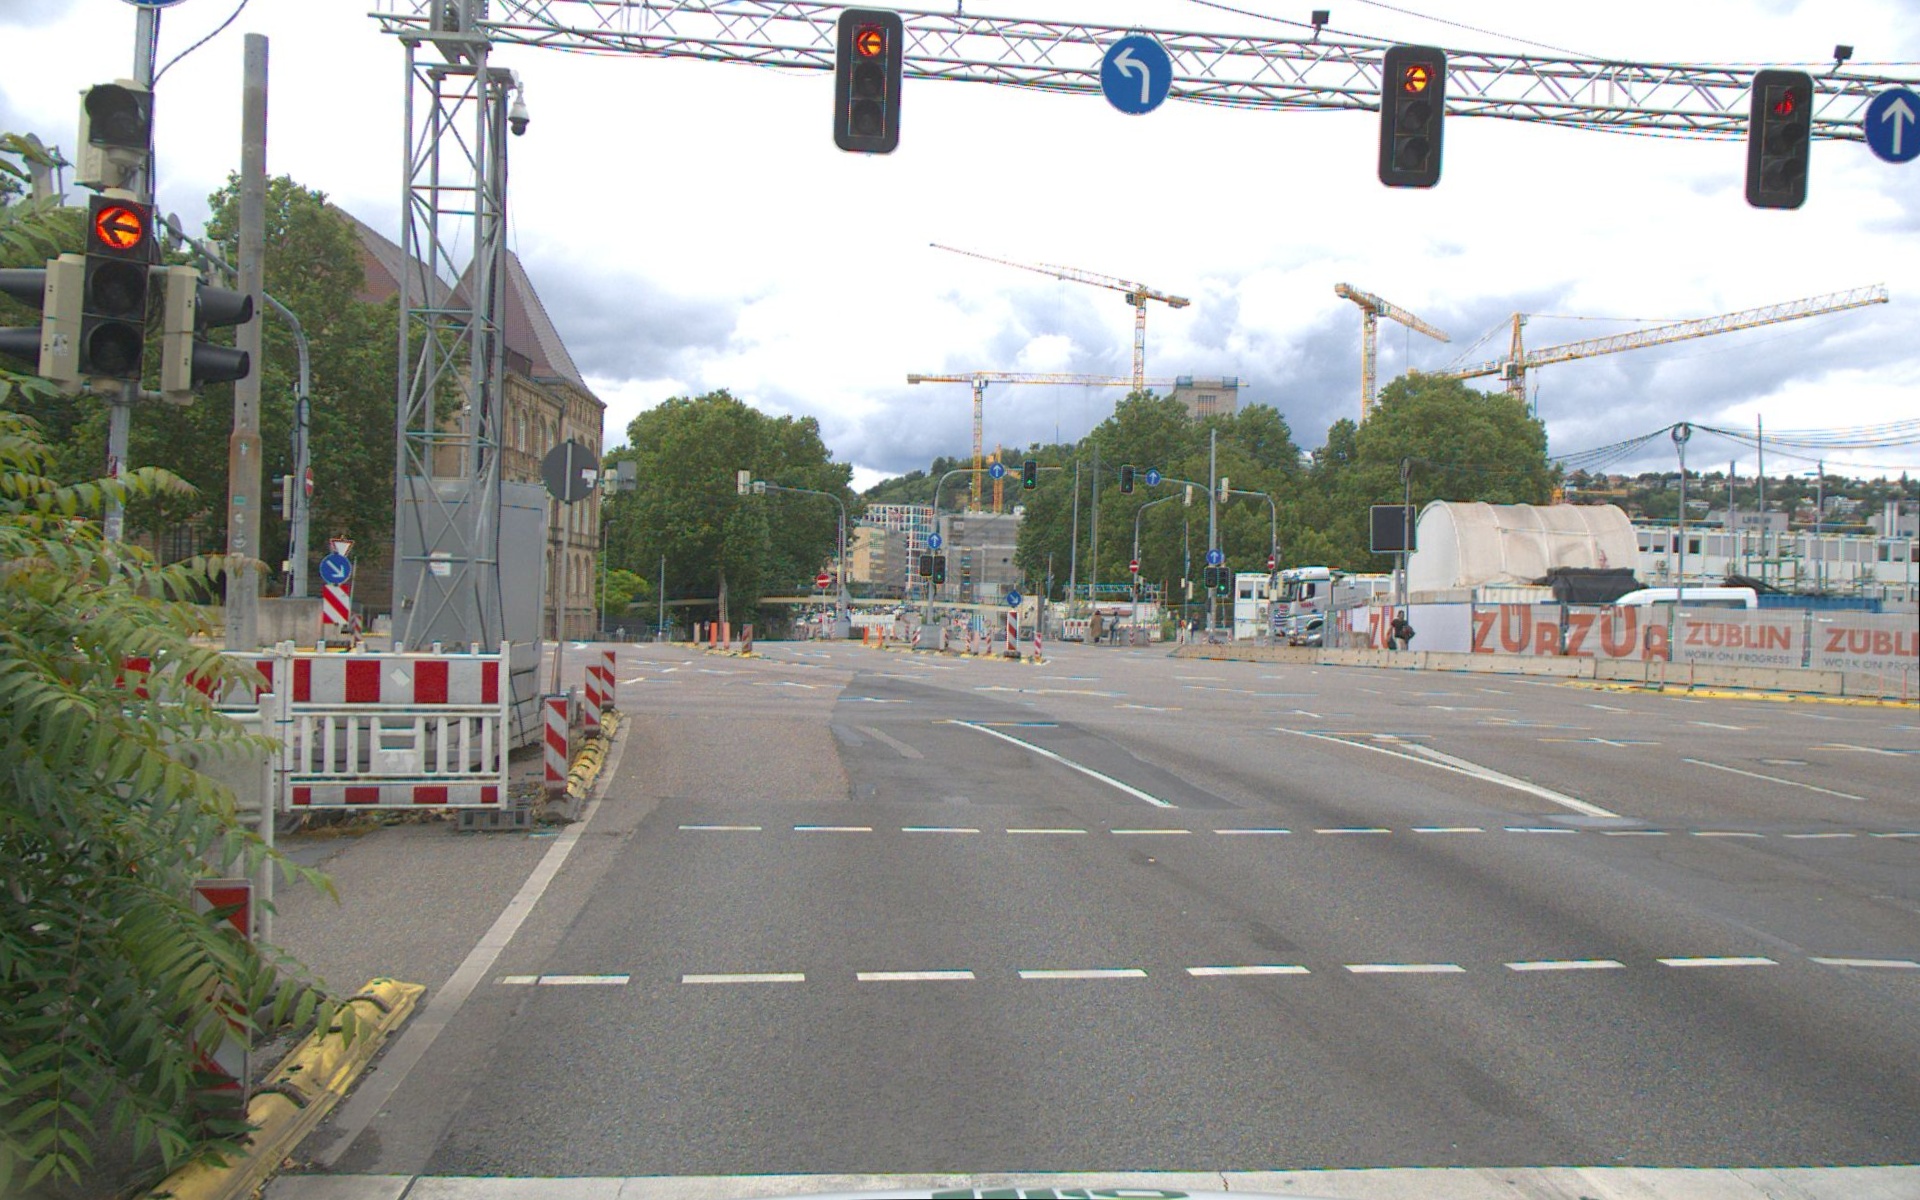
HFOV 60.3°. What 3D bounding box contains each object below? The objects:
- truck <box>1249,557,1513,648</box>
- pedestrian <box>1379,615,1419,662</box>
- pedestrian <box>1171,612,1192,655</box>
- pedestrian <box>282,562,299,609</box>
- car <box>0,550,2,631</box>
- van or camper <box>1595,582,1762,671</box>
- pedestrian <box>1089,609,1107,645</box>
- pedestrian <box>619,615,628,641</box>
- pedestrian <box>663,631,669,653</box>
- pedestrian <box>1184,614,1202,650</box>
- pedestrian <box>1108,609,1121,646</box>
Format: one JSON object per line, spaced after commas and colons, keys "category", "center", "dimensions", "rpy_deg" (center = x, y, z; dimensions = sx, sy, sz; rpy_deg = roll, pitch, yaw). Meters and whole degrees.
{"category": "truck", "center": [20.998, 0.164, 82.316], "dimensions": [12.837, 4.111, 3.927], "rpy_deg": [1, 0, -21]}
{"category": "pedestrian", "center": [13.537, 1.173, 51.000], "dimensions": [0.784, 1.402, 0.900], "rpy_deg": [2, 0, -19]}
{"category": "pedestrian", "center": [9.068, 1.361, 67.609], "dimensions": [0.714, 1.718, 0.677], "rpy_deg": [2, 0, -1]}
{"category": "pedestrian", "center": [-29.487, -0.625, 72.824], "dimensions": [0.523, 2.049, 0.421], "rpy_deg": [2, 0, -44]}
{"category": "car", "center": [-19.703, -0.131, 29.343], "dimensions": [4.239, 1.705, 1.993], "rpy_deg": [2, 0, -14]}
{"category": "van or camper", "center": [20.731, 0.744, 47.906], "dimensions": [4.123, 2.398, 2.002], "rpy_deg": [1, 0, 14]}
{"category": "pedestrian", "center": [6.630, 1.287, 79.506], "dimensions": [0.714, 1.718, 0.677], "rpy_deg": [2, 0, -1]}
{"category": "pedestrian", "center": [-26.624, 2.216, 130.894], "dimensions": [0.513, 2.049, 0.566], "rpy_deg": [1, 0, -1]}
{"category": "pedestrian", "center": [-28.055, 3.995, 157.803], "dimensions": [0.513, 2.049, 0.566], "rpy_deg": [1, 0, -1]}
{"category": "pedestrian", "center": [11.407, 1.560, 80.954], "dimensions": [0.609, 1.718, 0.710], "rpy_deg": [2, 0, 28]}
{"category": "pedestrian", "center": [7.458, 1.323, 79.894], "dimensions": [0.555, 1.718, 0.471], "rpy_deg": [2, 0, -1]}
